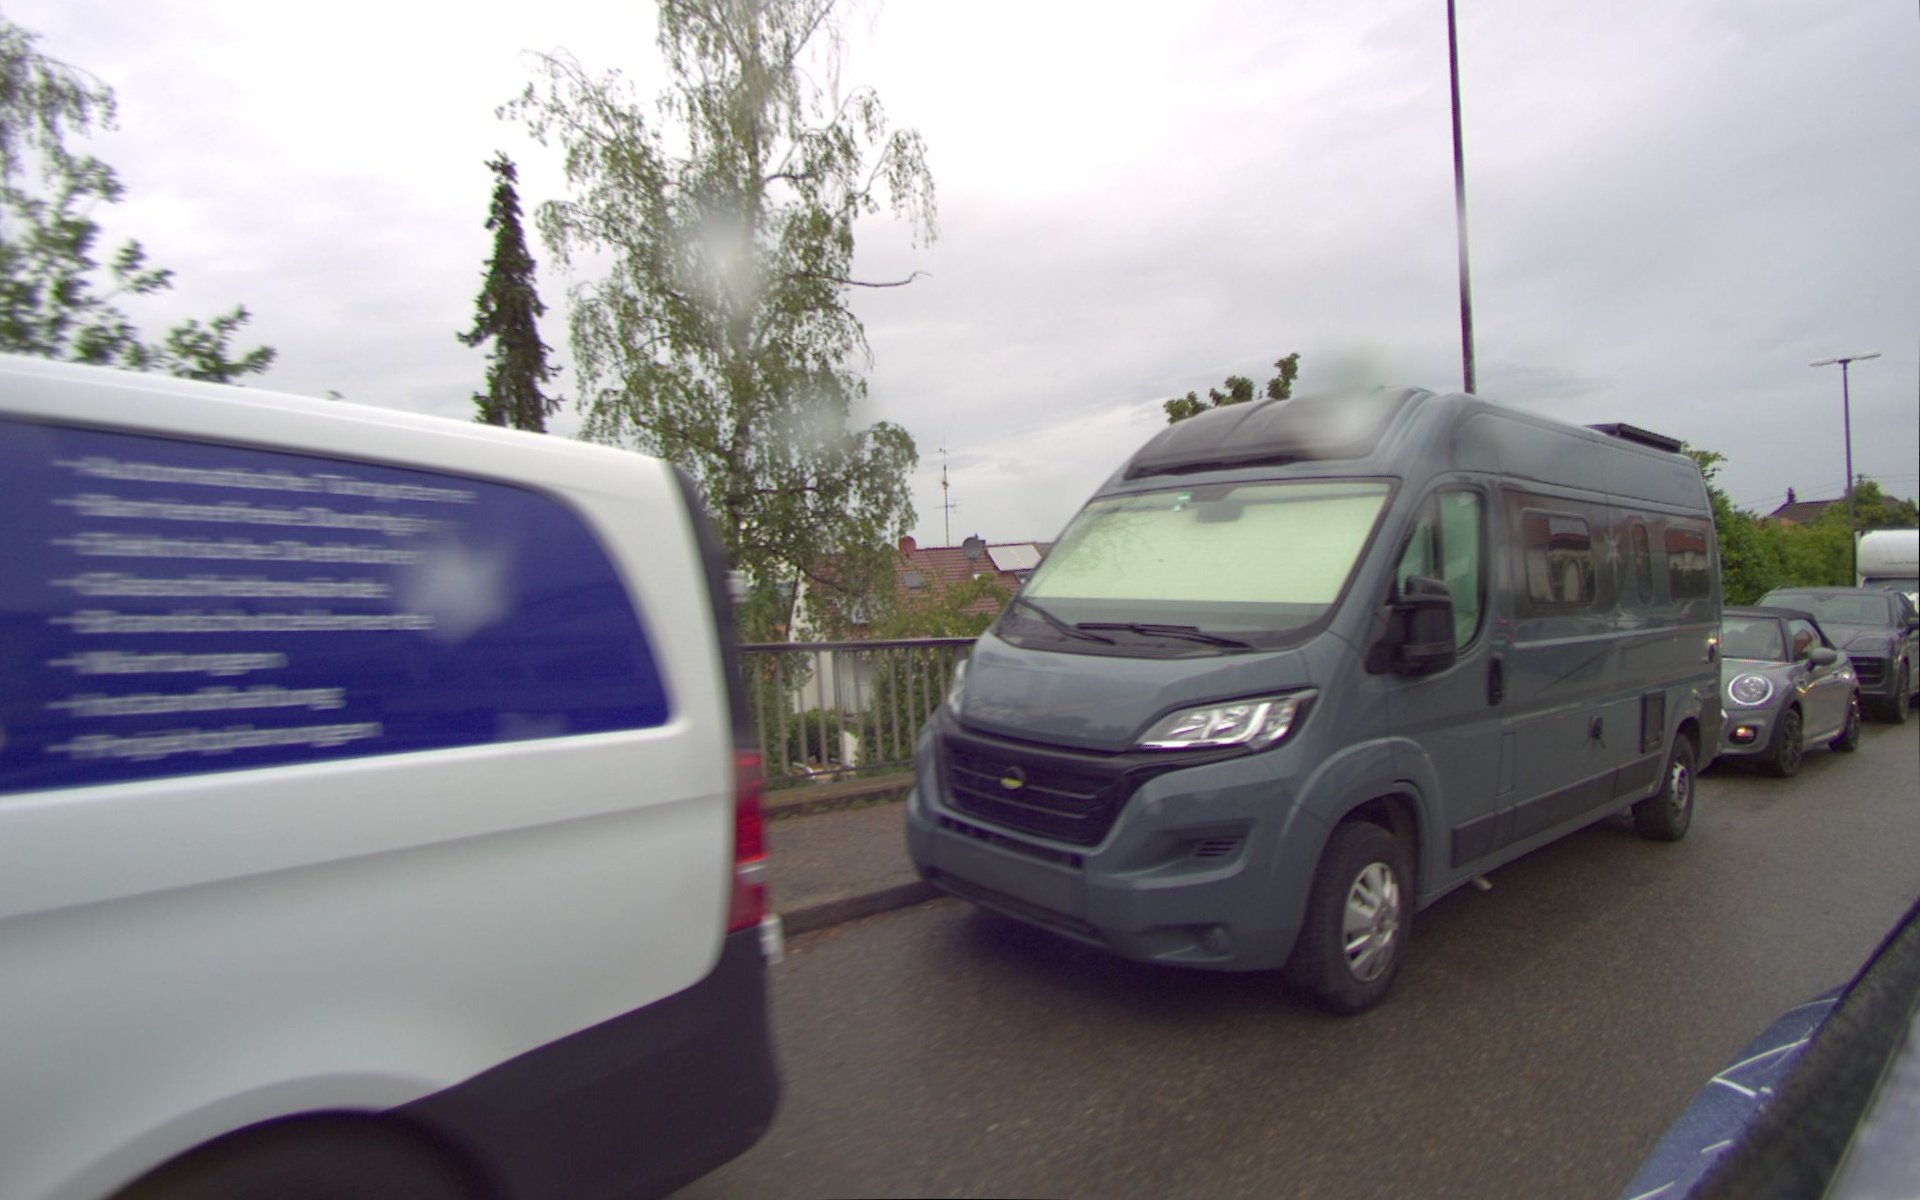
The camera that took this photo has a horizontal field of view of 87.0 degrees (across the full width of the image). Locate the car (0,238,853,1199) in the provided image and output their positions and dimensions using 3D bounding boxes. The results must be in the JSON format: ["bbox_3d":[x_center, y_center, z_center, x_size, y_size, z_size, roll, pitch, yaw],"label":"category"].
[{"bbox_3d":[-2.775,0.466,1.144,5.177,1.865,1.830,0,1,-41],"label":"car"}]

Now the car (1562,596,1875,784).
[{"bbox_3d":[7.362,0.694,9.704,3.730,1.447,1.592,0,0,-40],"label":"car"}]

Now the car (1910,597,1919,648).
[{"bbox_3d":[30.329,0.658,30.722,4.902,1.456,1.834,-1,1,-42],"label":"car"}]

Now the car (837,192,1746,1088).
[{"bbox_3d":[2.332,0.093,5.561,5.851,2.537,2.035,0,0,-41],"label":"car"}]

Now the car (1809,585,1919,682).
[{"bbox_3d":[18.461,0.556,19.968,5.541,1.704,1.849,-1,1,-42],"label":"car"}]

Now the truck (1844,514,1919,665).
[{"bbox_3d":[24.338,-0.275,25.298,7.827,3.377,2.440,-1,1,-42],"label":"truck"}]

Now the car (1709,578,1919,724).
[{"bbox_3d":[12.181,0.571,13.968,4.610,1.693,1.940,0,0,-40],"label":"car"}]
